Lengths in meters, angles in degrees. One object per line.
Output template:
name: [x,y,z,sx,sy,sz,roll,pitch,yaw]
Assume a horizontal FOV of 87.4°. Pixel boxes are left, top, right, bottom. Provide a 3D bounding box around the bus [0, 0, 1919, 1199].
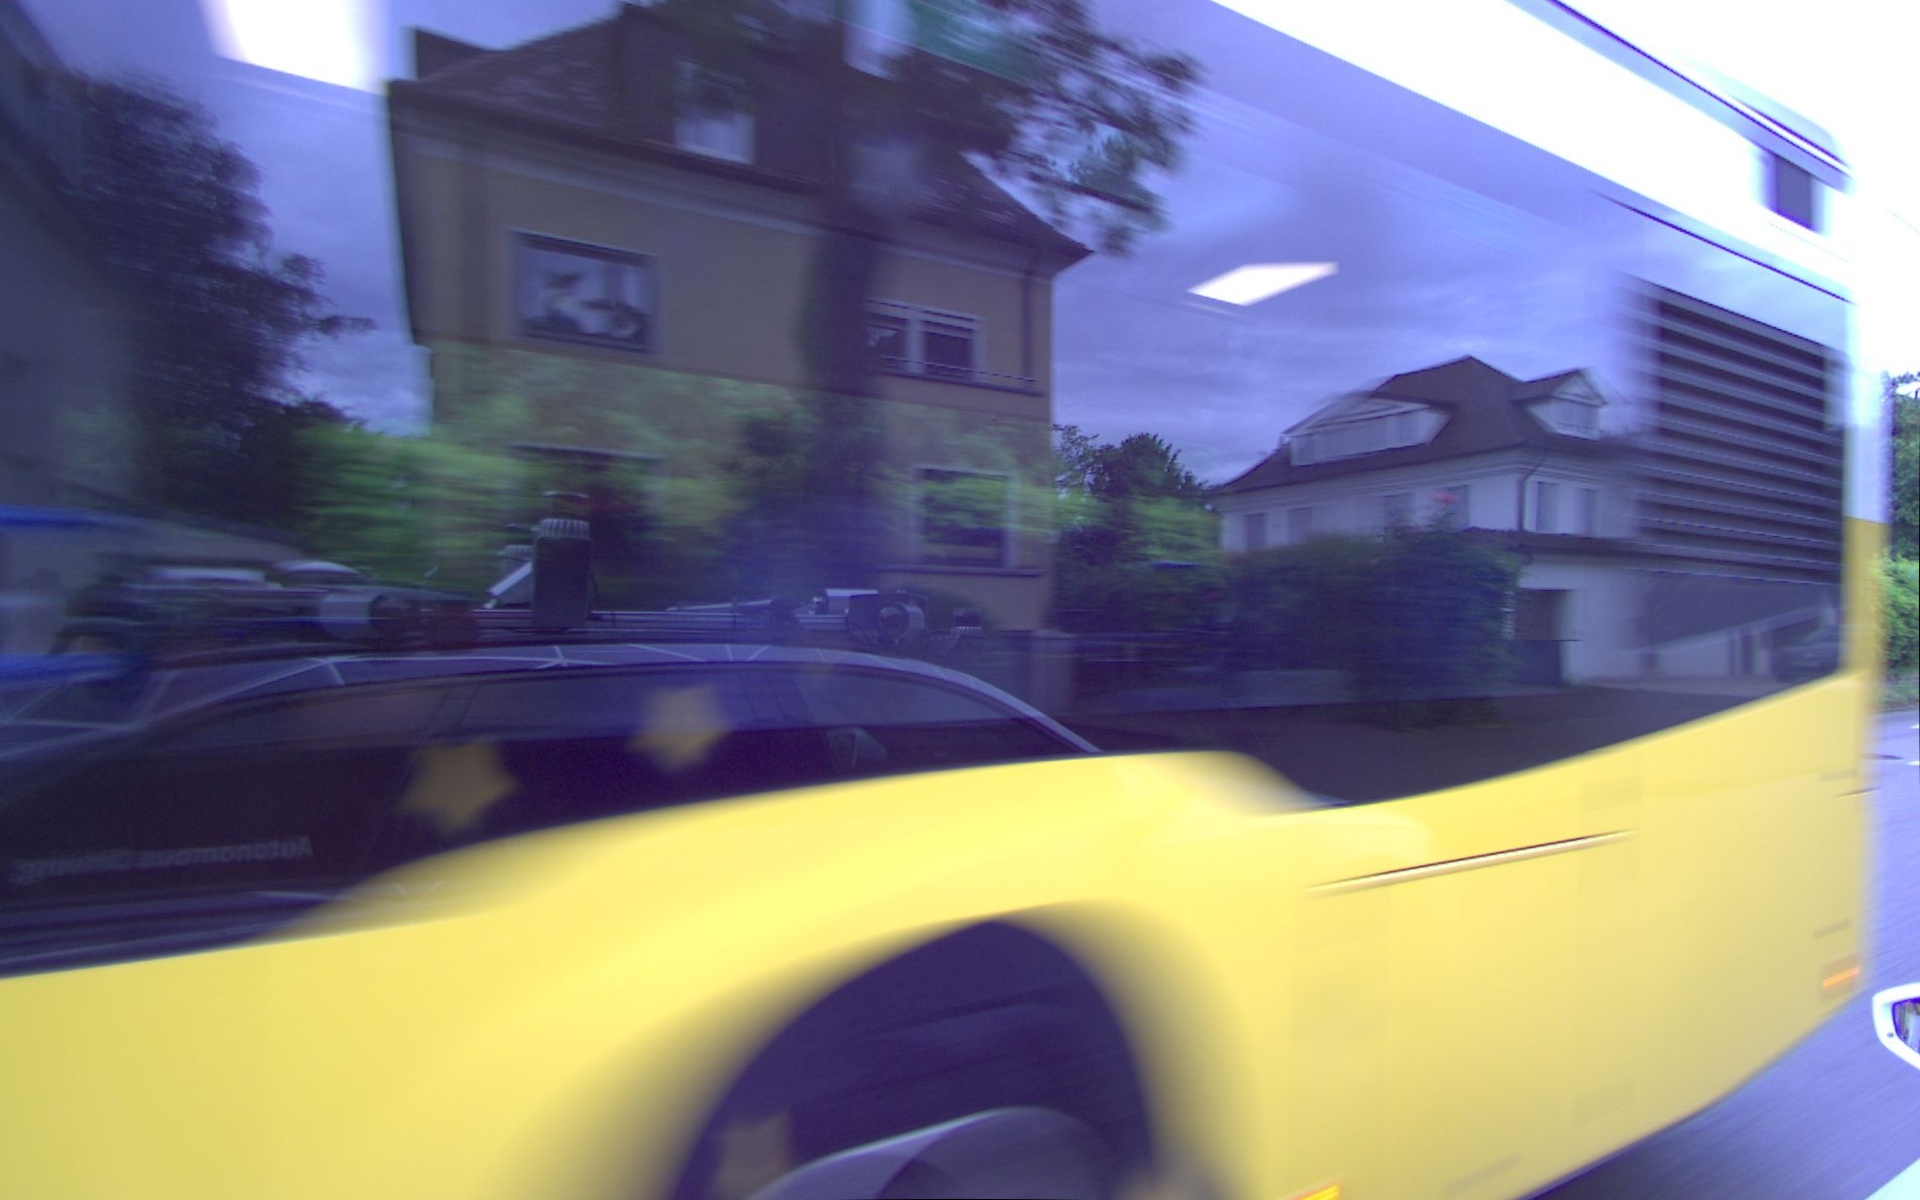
bus: [-1.346,-0.121,1.953,8.535,3.200,2.582,1,0,-31]
